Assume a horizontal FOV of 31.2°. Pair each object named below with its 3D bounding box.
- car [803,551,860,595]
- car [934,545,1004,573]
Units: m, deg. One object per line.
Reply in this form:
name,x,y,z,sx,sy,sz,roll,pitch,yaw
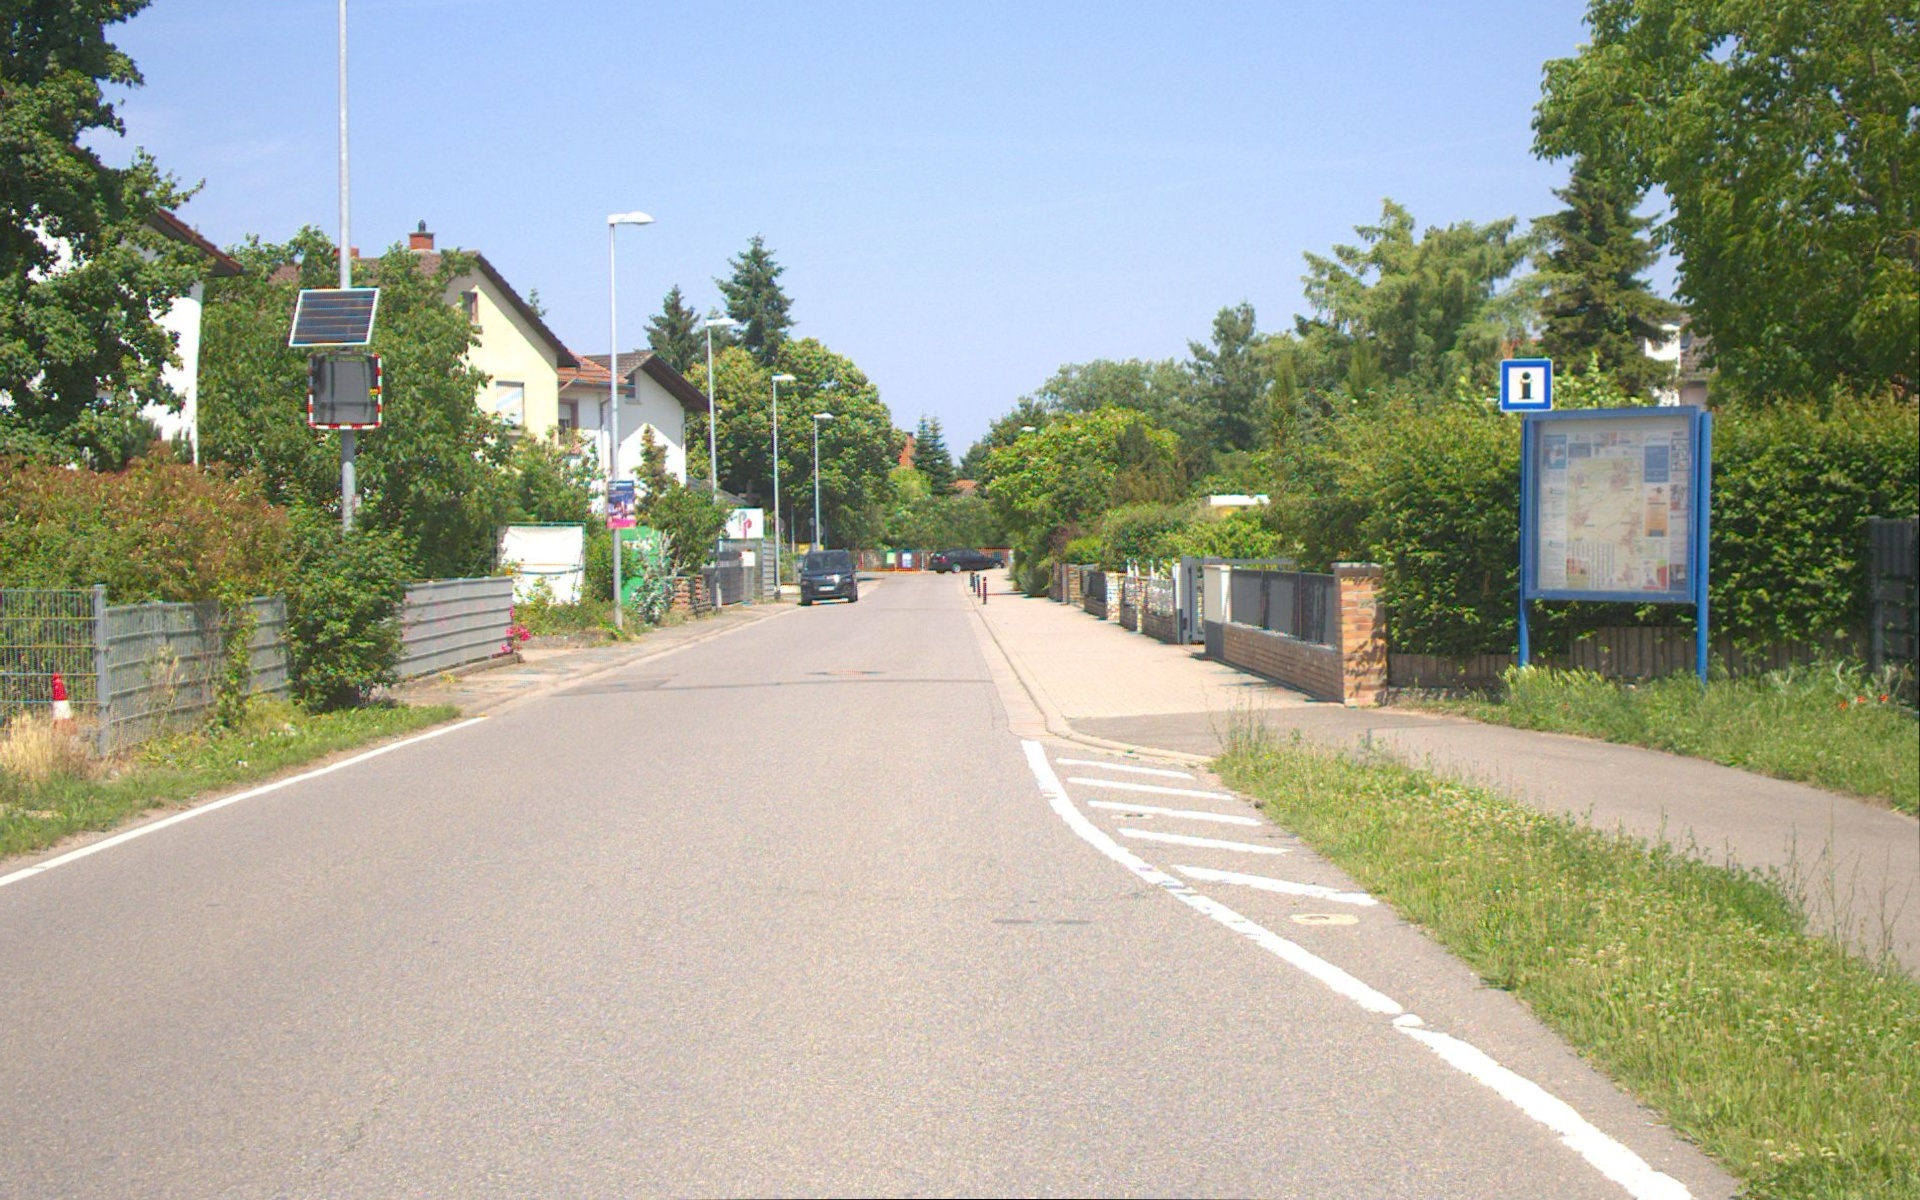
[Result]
car,-4.281,-0.918,114.666,1.759,1.380,3.453,-2,1,-1
car,0.494,-2.301,192.225,3.894,1.392,1.583,-2,1,-1
